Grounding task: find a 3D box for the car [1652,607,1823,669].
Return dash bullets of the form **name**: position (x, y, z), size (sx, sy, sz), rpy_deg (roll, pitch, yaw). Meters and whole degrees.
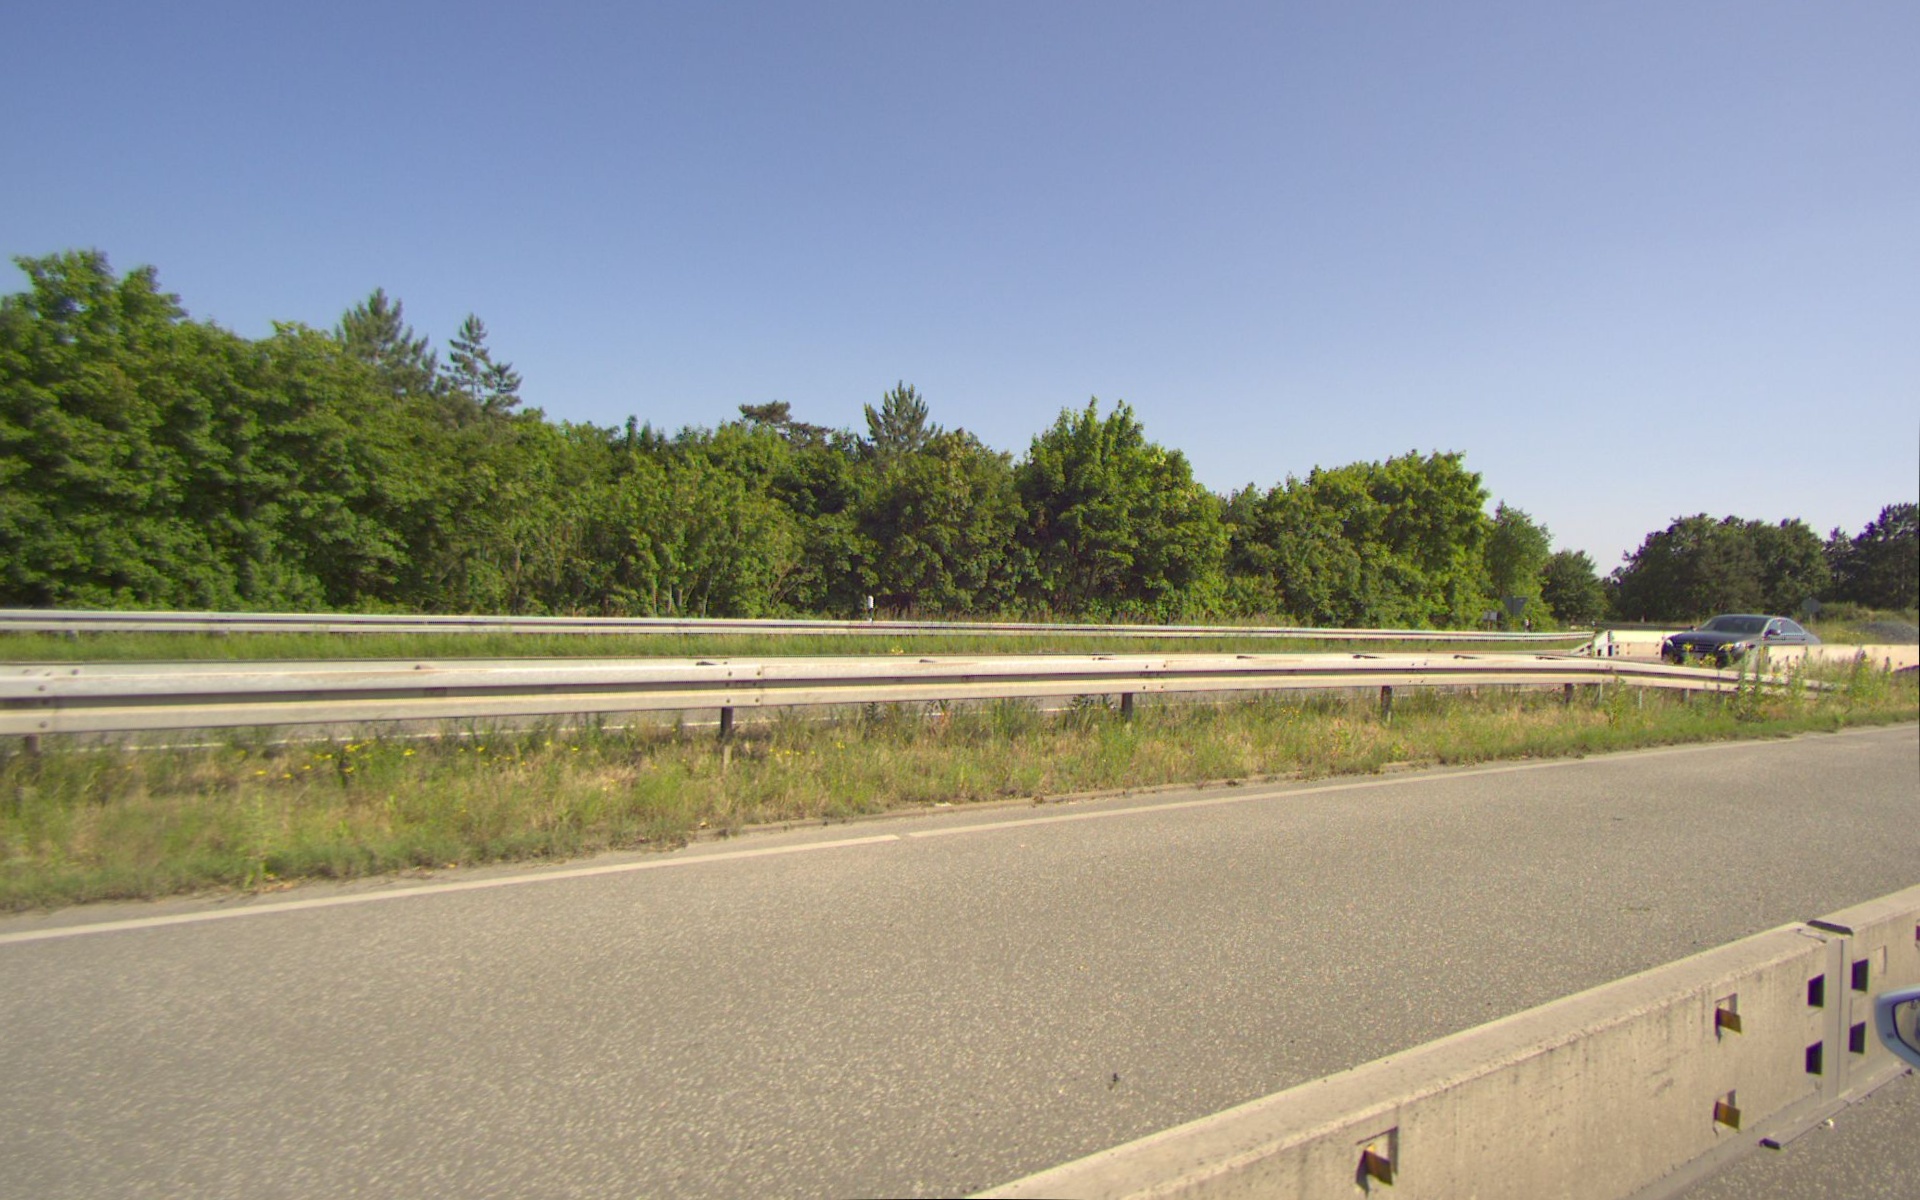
- **car**: position (20.141, 0.969, 25.977), size (4.756, 1.460, 1.831), rpy_deg (1, -1, -30)
